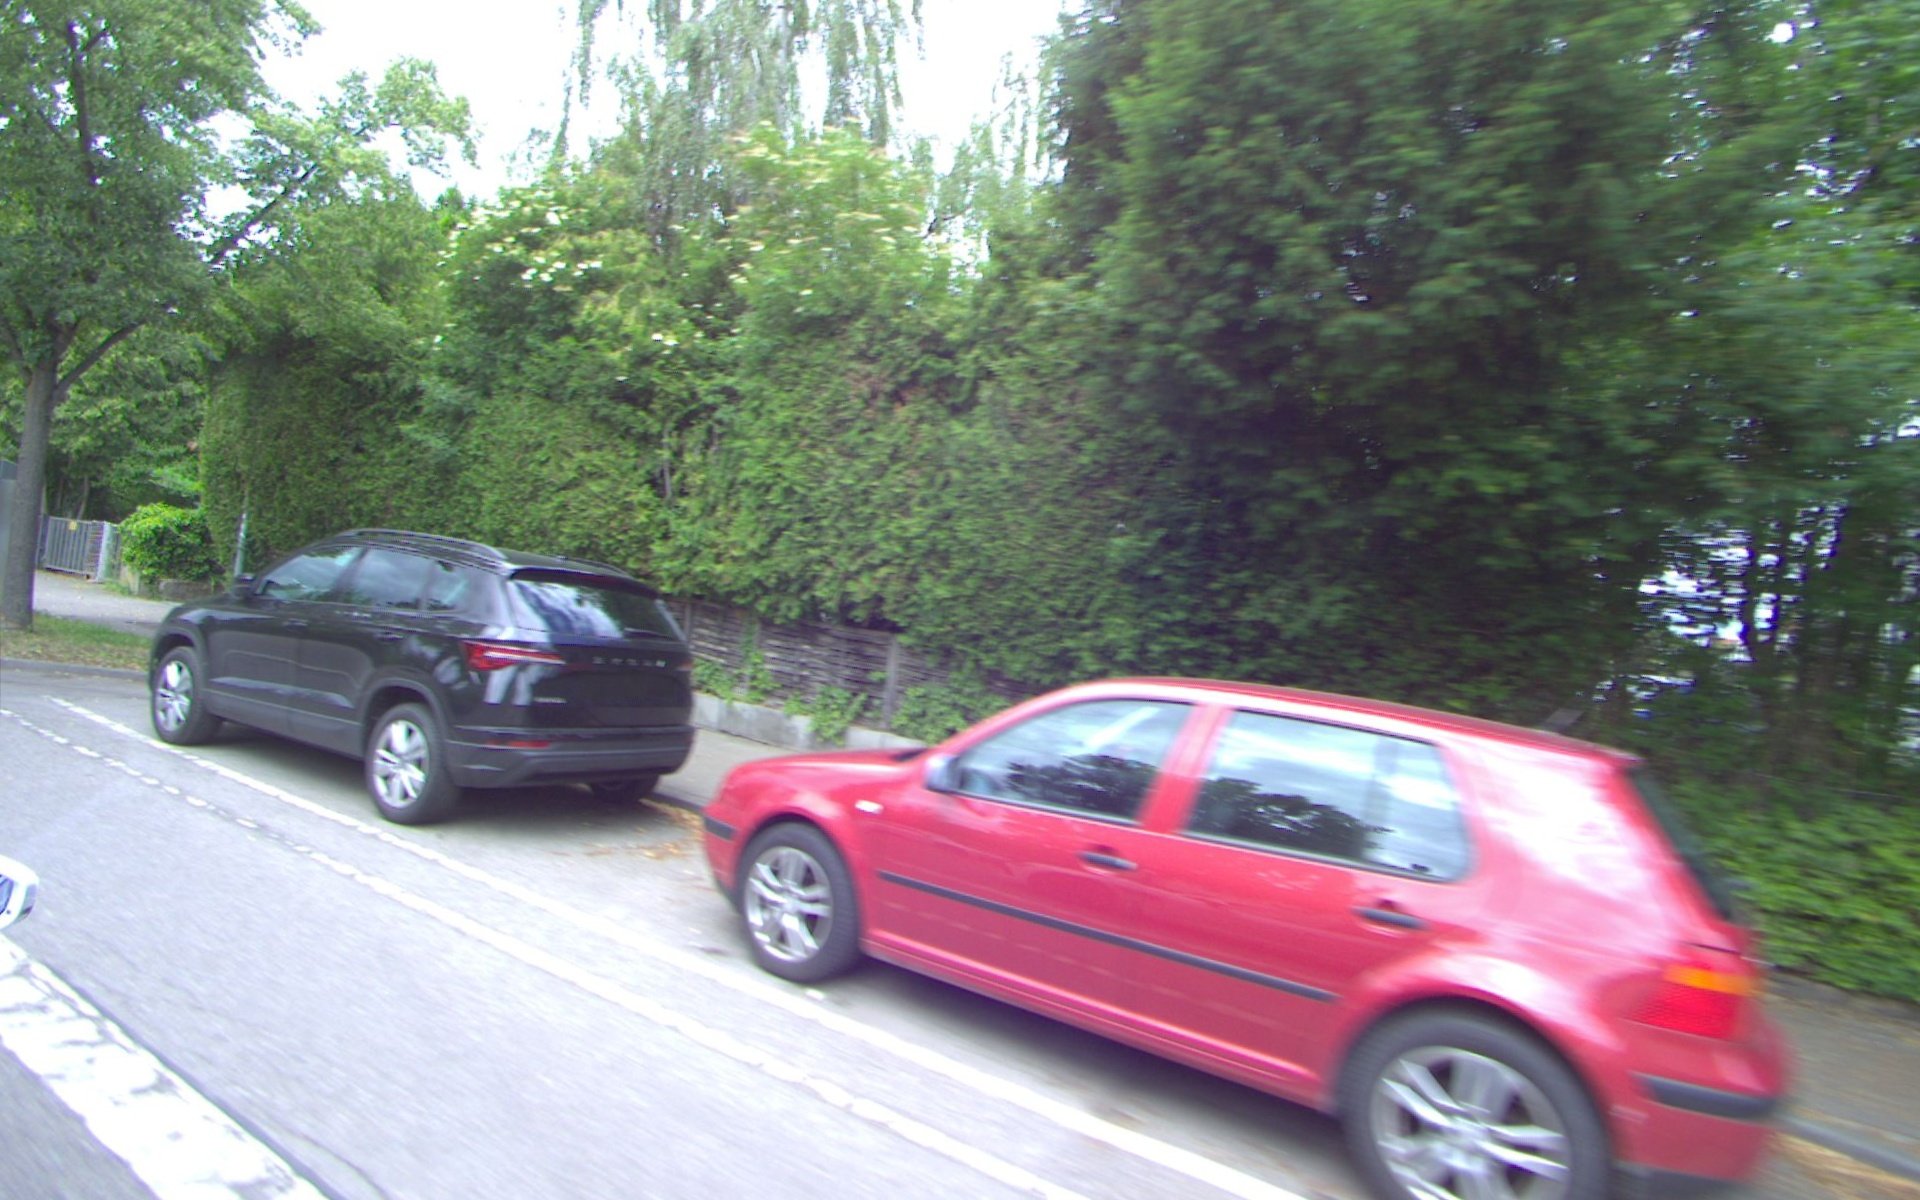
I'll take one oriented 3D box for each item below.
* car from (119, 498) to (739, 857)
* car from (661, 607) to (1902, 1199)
[{"bbox_3d":[-3.709,0.373,6.858,4.098,1.634,1.642,7,-2,30],"label":"car"},{"bbox_3d":[0.836,1.007,4.035,3.935,1.437,1.640,7,-1,33],"label":"car"}]
